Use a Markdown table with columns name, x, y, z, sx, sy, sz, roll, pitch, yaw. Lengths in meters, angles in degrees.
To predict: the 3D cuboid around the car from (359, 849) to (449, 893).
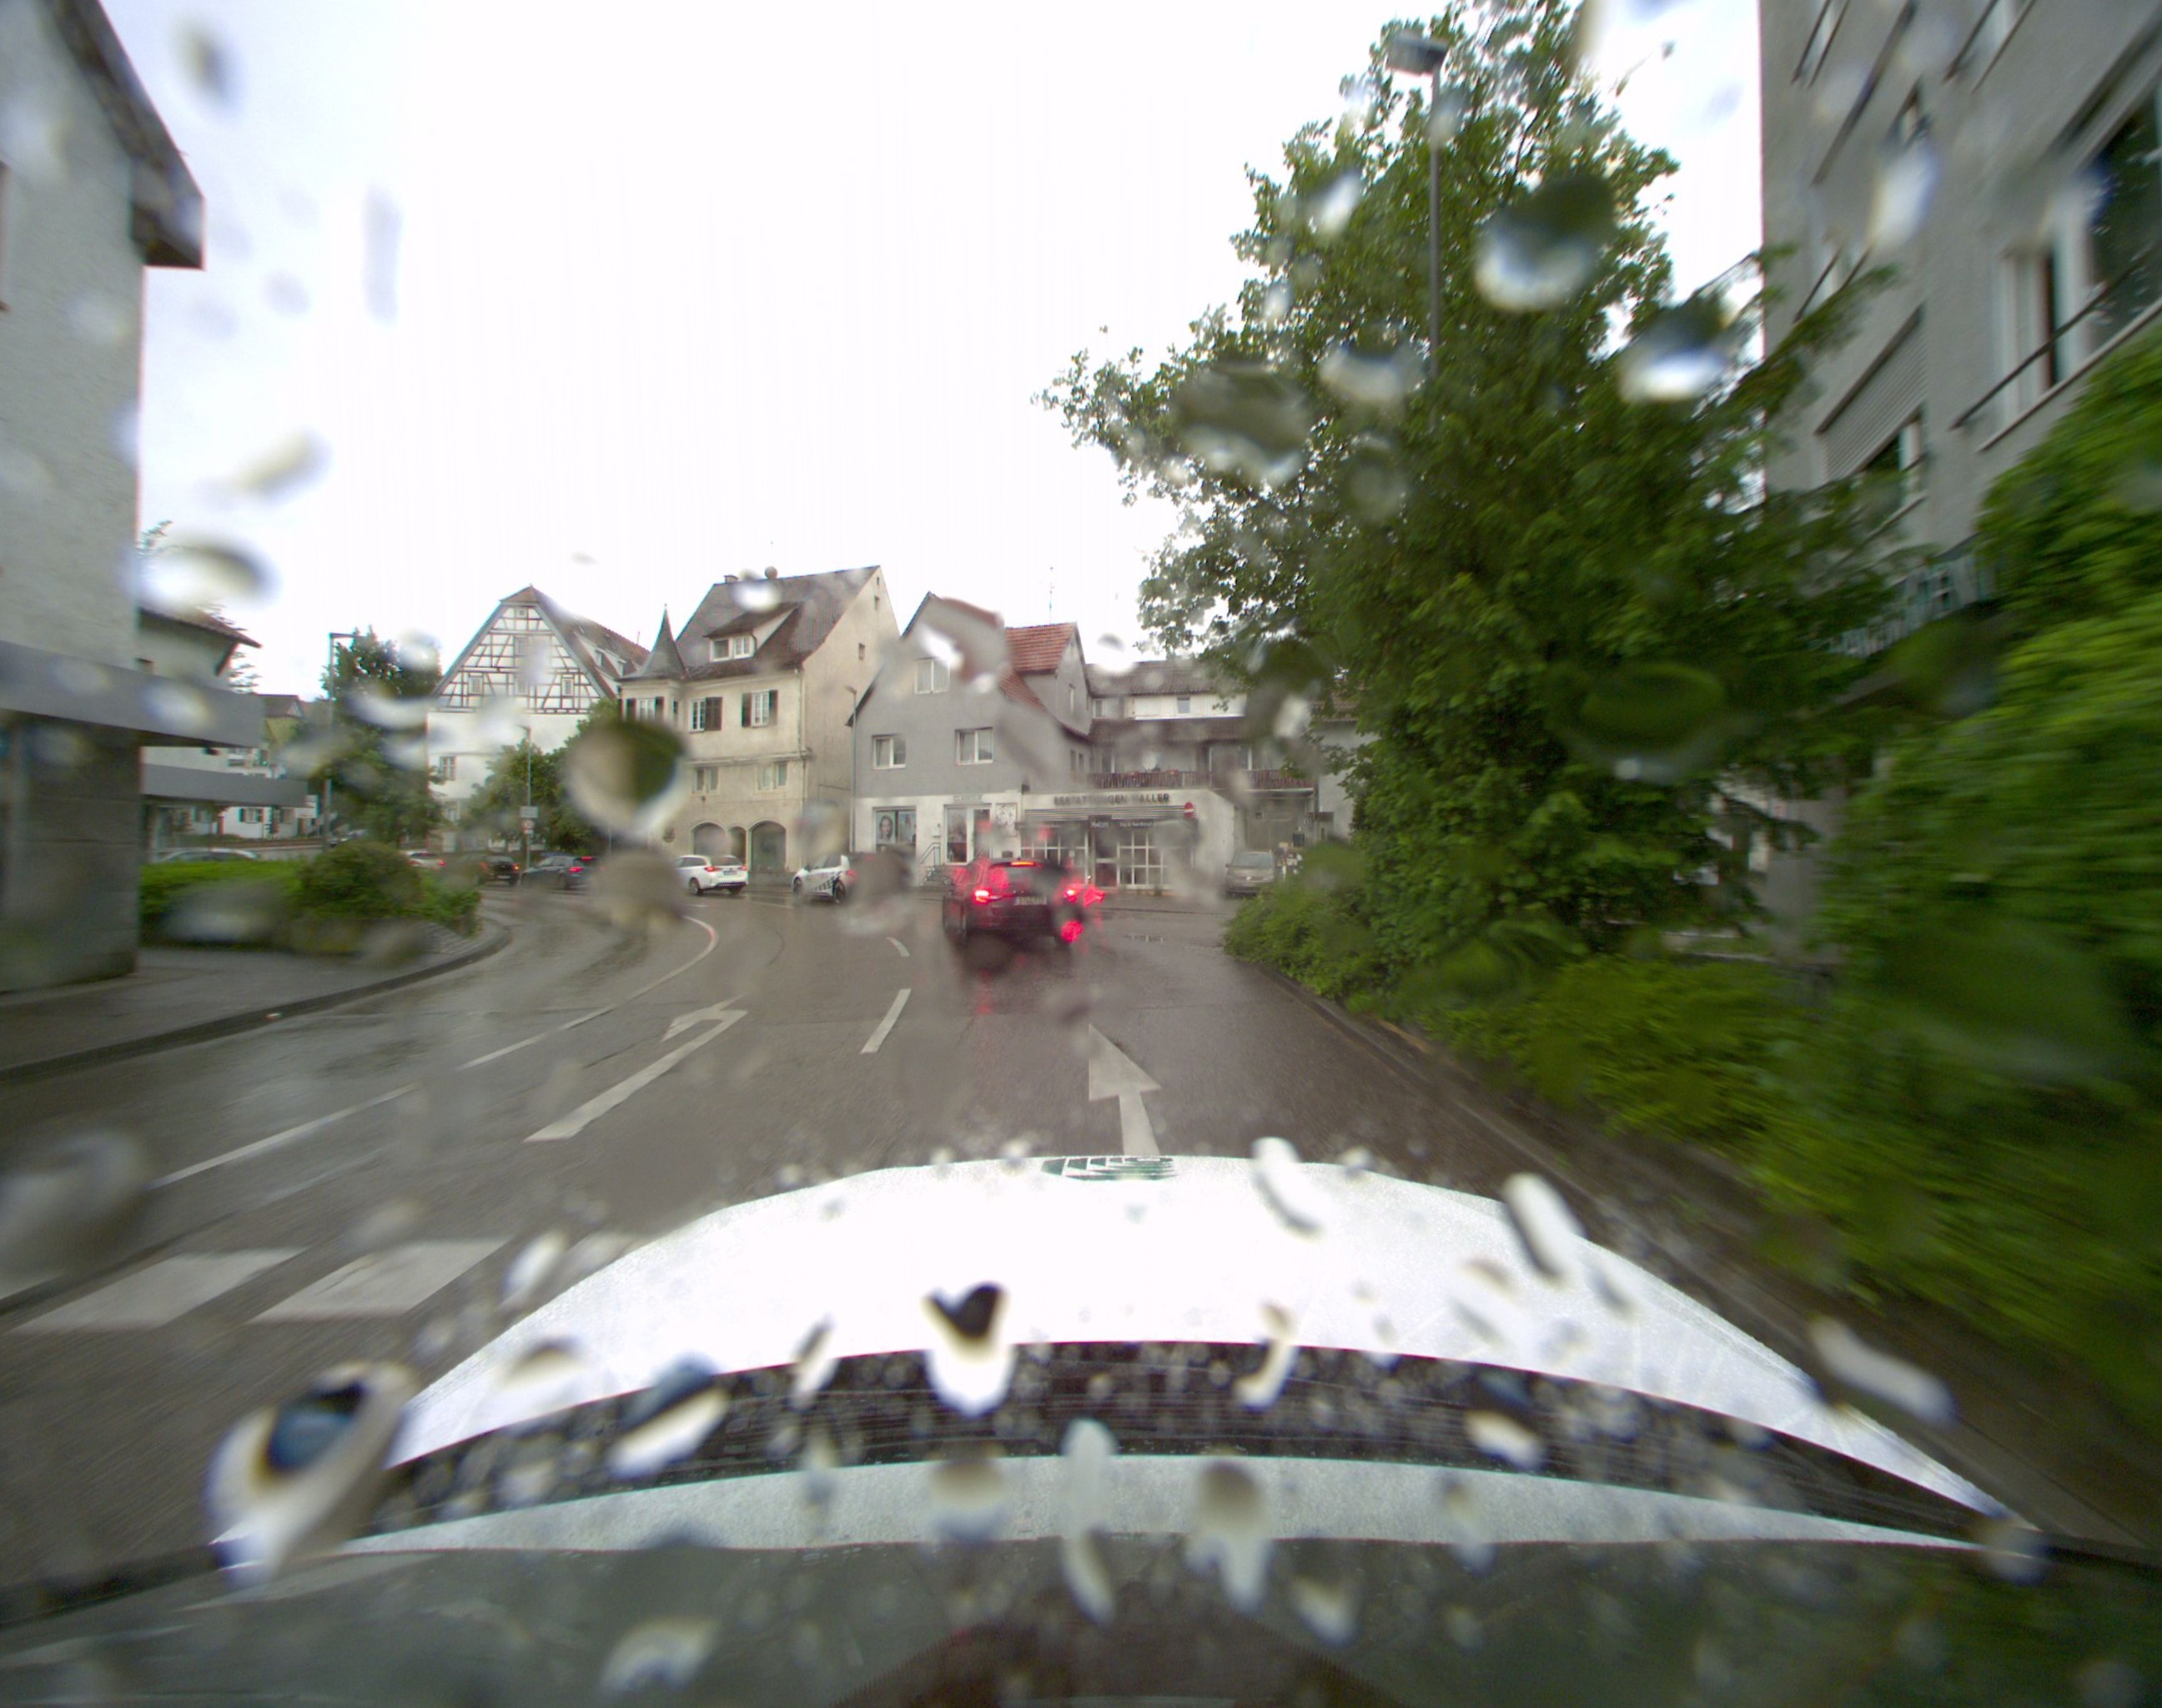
| name | x | y | z | sx | sy | sz | roll | pitch | yaw |
| --- | --- | --- | --- | --- | --- | --- | --- | --- | --- |
| car | -34.051 | 0.803 | 40.965 | 3.912 | 2.090 | 1.991 | 1 | 1 | 26 |

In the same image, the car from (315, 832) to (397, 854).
| name | x | y | z | sx | sy | sz | roll | pitch | yaw |
| --- | --- | --- | --- | --- | --- | --- | --- | --- | --- |
| car | -54.944 | -0.825 | 61.828 | 1.637 | 1.390 | 4.538 | 7 | 1 | 7 |

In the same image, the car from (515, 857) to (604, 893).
| name | x | y | z | sx | sy | sz | roll | pitch | yaw |
| --- | --- | --- | --- | --- | --- | --- | --- | --- | --- |
| car | -22.328 | 0.871 | 34.856 | 3.720 | 1.361 | 1.533 | 1 | 1 | 27 |

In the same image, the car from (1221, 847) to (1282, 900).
| name | x | y | z | sx | sy | sz | roll | pitch | yaw |
| --- | --- | --- | --- | --- | --- | --- | --- | --- | --- |
| car | 6.350 | 0.633 | 29.957 | 1.909 | 1.727 | 4.688 | 0 | 1 | 15 |

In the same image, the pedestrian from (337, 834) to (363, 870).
| name | x | y | z | sx | sy | sz | roll | pitch | yaw |
| --- | --- | --- | --- | --- | --- | --- | --- | --- | --- |
| pedestrian | -48.096 | -0.141 | 53.604 | 1.215 | 2.326 | 0.873 | -1 | -1 | 27 |

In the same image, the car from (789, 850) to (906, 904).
| name | x | y | z | sx | sy | sz | roll | pitch | yaw |
| --- | --- | --- | --- | --- | --- | --- | --- | --- | --- |
| car | -7.362 | 0.657 | 25.466 | 1.805 | 1.517 | 4.189 | -2 | 1 | -43 |

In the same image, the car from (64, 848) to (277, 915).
| name | x | y | z | sx | sy | sz | roll | pitch | yaw |
| --- | --- | --- | --- | --- | --- | --- | --- | --- | --- |
| car | -24.828 | 0.692 | 22.407 | 1.698 | 1.685 | 3.545 | 0 | 0 | 7 |

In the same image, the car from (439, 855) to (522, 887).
| name | x | y | z | sx | sy | sz | roll | pitch | yaw |
| --- | --- | --- | --- | --- | --- | --- | --- | --- | --- |
| car | -27.888 | 0.763 | 37.845 | 3.578 | 1.312 | 1.678 | 1 | 1 | 27 |

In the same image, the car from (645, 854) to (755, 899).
| name | x | y | z | sx | sy | sz | roll | pitch | yaw |
| --- | --- | --- | --- | --- | --- | --- | --- | --- | --- |
| car | -14.205 | 0.781 | 30.323 | 4.110 | 1.465 | 1.803 | 1 | 2 | 34 |

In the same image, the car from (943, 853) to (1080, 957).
| name | x | y | z | sx | sy | sz | roll | pitch | yaw |
| --- | --- | --- | --- | --- | --- | --- | --- | --- | --- |
| car | -1.378 | 0.754 | 14.353 | 1.735 | 1.450 | 4.221 | 0 | 1 | -14 |
